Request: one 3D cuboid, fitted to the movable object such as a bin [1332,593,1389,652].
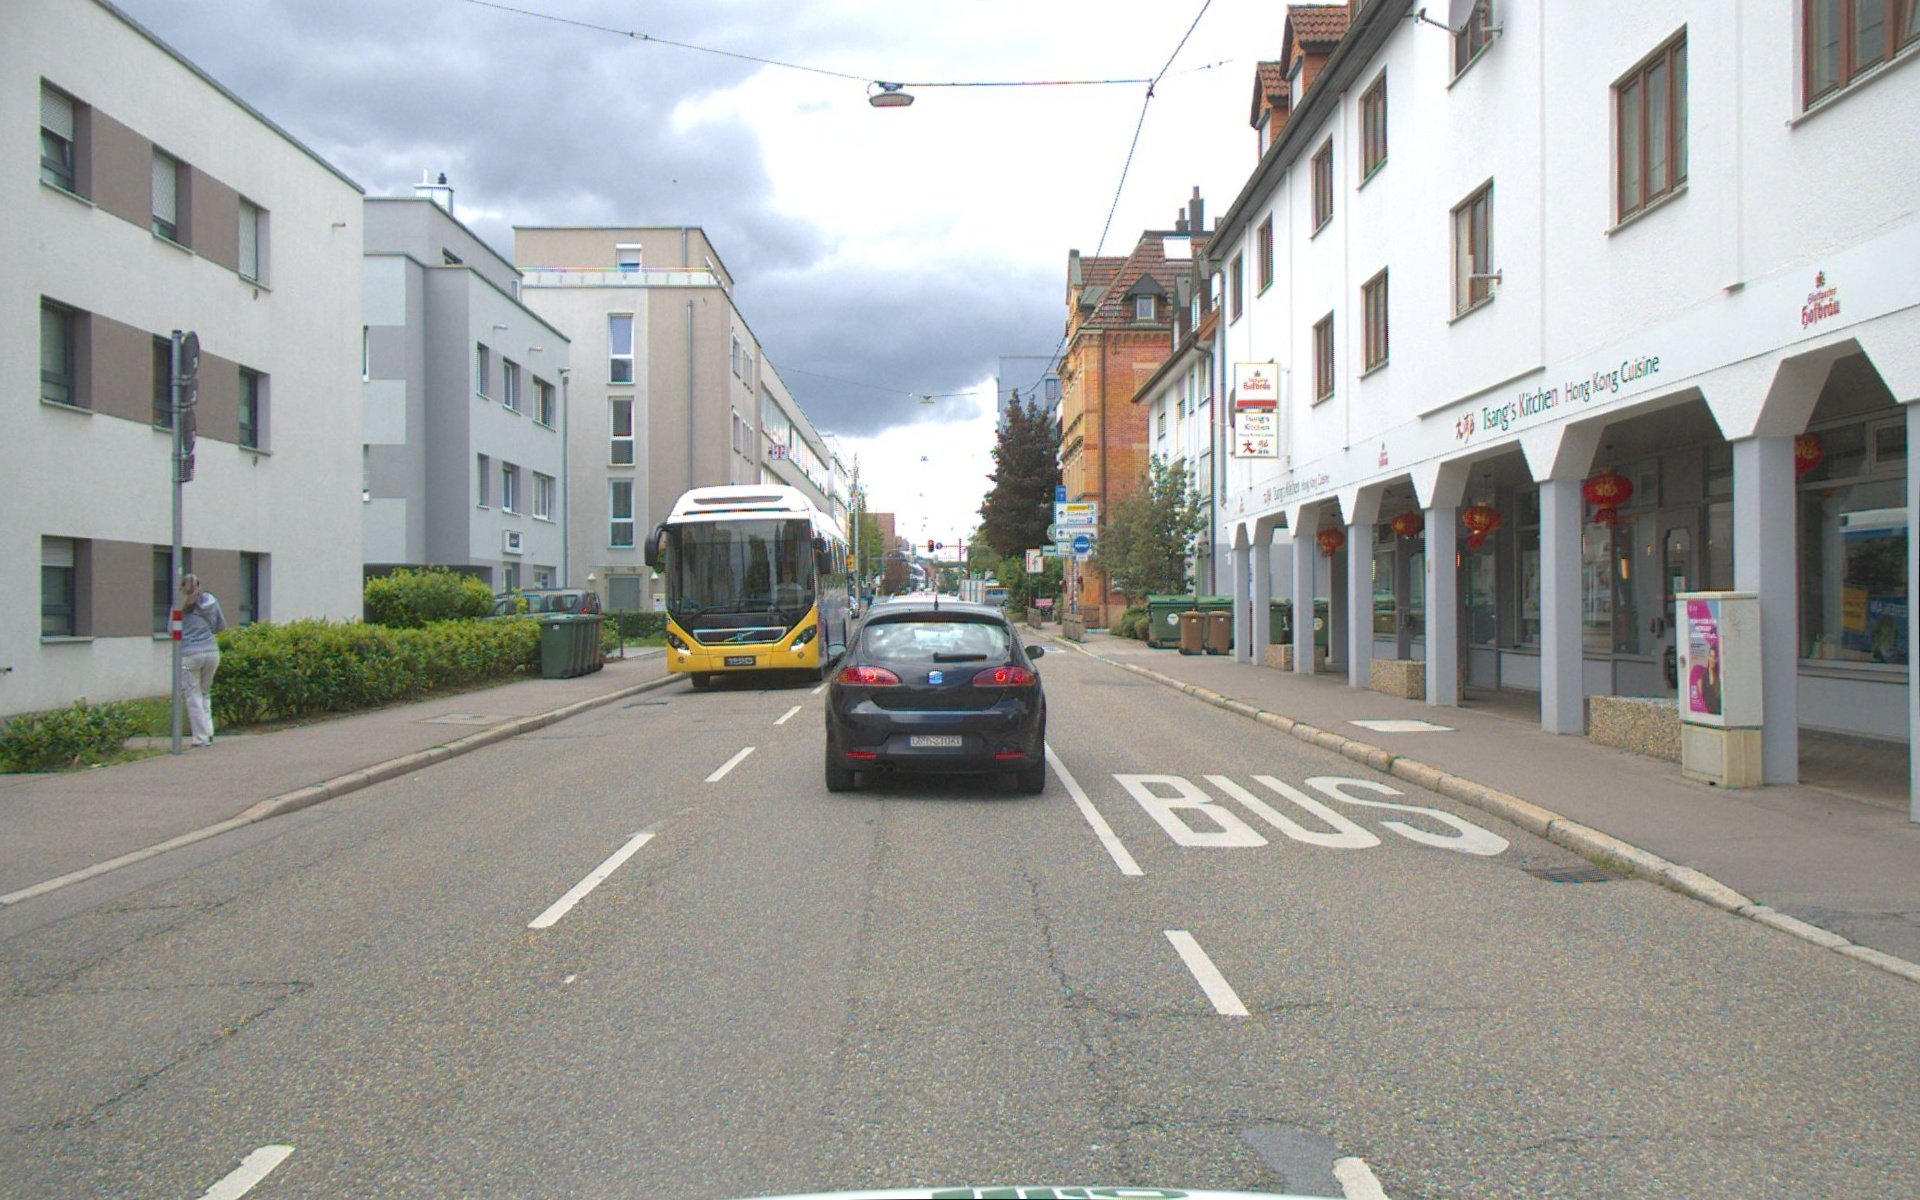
[{"bbox_3d":[10.057,0.553,41.567,1.184,1.442,1.260,0,0,3],"label":"movable object such as a bin"}]

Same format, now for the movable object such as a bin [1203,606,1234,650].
[{"bbox_3d":[6.555,0.698,41.913,0.683,1.098,0.972,0,0,3],"label":"movable object such as a bin"}]

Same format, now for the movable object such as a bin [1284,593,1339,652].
[{"bbox_3d":[8.825,0.554,41.586,1.184,1.442,1.260,0,0,3],"label":"movable object such as a bin"}]

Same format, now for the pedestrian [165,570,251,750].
[{"bbox_3d":[-7.174,0.555,15.773,0.634,1.671,0.513,0,0,-40],"label":"pedestrian"}]

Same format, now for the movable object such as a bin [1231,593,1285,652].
[{"bbox_3d":[7.490,0.558,41.580,1.184,1.442,1.260,0,0,3],"label":"movable object such as a bin"}]

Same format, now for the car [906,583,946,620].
[{"bbox_3d":[-1.545,0.070,75.120,1.767,1.629,3.736,1,0,-2],"label":"car"}]

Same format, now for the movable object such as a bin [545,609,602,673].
[{"bbox_3d":[-7.200,0.757,30.824,0.930,1.171,0.748,0,0,-5],"label":"movable object such as a bin"}]

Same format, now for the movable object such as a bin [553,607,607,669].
[{"bbox_3d":[-7.234,0.721,31.539,0.922,1.171,0.612,0,0,-5],"label":"movable object such as a bin"}]

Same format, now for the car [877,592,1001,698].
[{"bbox_3d":[-0.350,0.637,25.682,1.767,1.519,3.736,0,0,-2],"label":"car"}]

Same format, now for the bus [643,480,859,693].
[{"bbox_3d":[-3.717,-0.264,32.595,2.883,3.331,12.005,-2,0,-1],"label":"bus"}]

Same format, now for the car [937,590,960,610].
[{"bbox_3d":[-0.979,-0.025,135.278,1.767,1.629,3.736,1,0,-2],"label":"car"}]

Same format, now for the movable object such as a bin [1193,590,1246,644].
[{"bbox_3d":[7.142,0.462,45.593,1.241,1.460,1.307,0,0,-1],"label":"movable object such as a bin"}]

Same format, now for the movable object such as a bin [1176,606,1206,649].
[{"bbox_3d":[5.839,0.693,41.927,0.669,1.086,0.972,0,0,3],"label":"movable object such as a bin"}]

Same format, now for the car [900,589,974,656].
[{"bbox_3d":[-0.596,0.531,41.409,1.767,1.580,3.736,0,0,-2],"label":"car"}]

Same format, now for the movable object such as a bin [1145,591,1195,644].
[{"bbox_3d":[5.812,0.486,45.849,1.241,1.442,1.162,0,0,-1],"label":"movable object such as a bin"}]

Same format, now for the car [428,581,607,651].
[{"bbox_3d":[-11.260,0.405,42.259,4.076,1.697,1.725,-1,0,2],"label":"car"}]

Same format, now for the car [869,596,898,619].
[{"bbox_3d":[-5.211,0.501,113.131,1.840,1.476,4.213,-3,0,-1],"label":"car"}]

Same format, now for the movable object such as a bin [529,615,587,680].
[{"bbox_3d":[-7.075,0.824,29.118,0.877,1.108,0.792,0,0,-5],"label":"movable object such as a bin"}]

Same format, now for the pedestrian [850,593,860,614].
[{"bbox_3d":[-9.408,0.306,148.471,0.899,1.901,0.783,0,0,-2],"label":"pedestrian"}]

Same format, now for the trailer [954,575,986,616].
[{"bbox_3d":[0.613,-0.281,109.846,1.953,2.653,5.347,0,0,-2],"label":"trailer"}]

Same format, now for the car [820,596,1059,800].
[{"bbox_3d":[-0.174,0.704,13.880,1.730,1.458,3.828,0,0,-1],"label":"car"}]

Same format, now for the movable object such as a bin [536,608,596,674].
[{"bbox_3d":[-7.136,0.738,29.999,0.937,1.171,0.839,0,0,-5],"label":"movable object such as a bin"}]

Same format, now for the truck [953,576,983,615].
[{"bbox_3d":[0.542,-0.300,112.676,1.953,2.653,3.259,0,0,-2],"label":"truck"}]

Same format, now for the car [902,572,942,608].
[{"bbox_3d":[-1.741,-0.429,75.028,1.767,1.580,3.736,0,0,-2],"label":"car"}]
